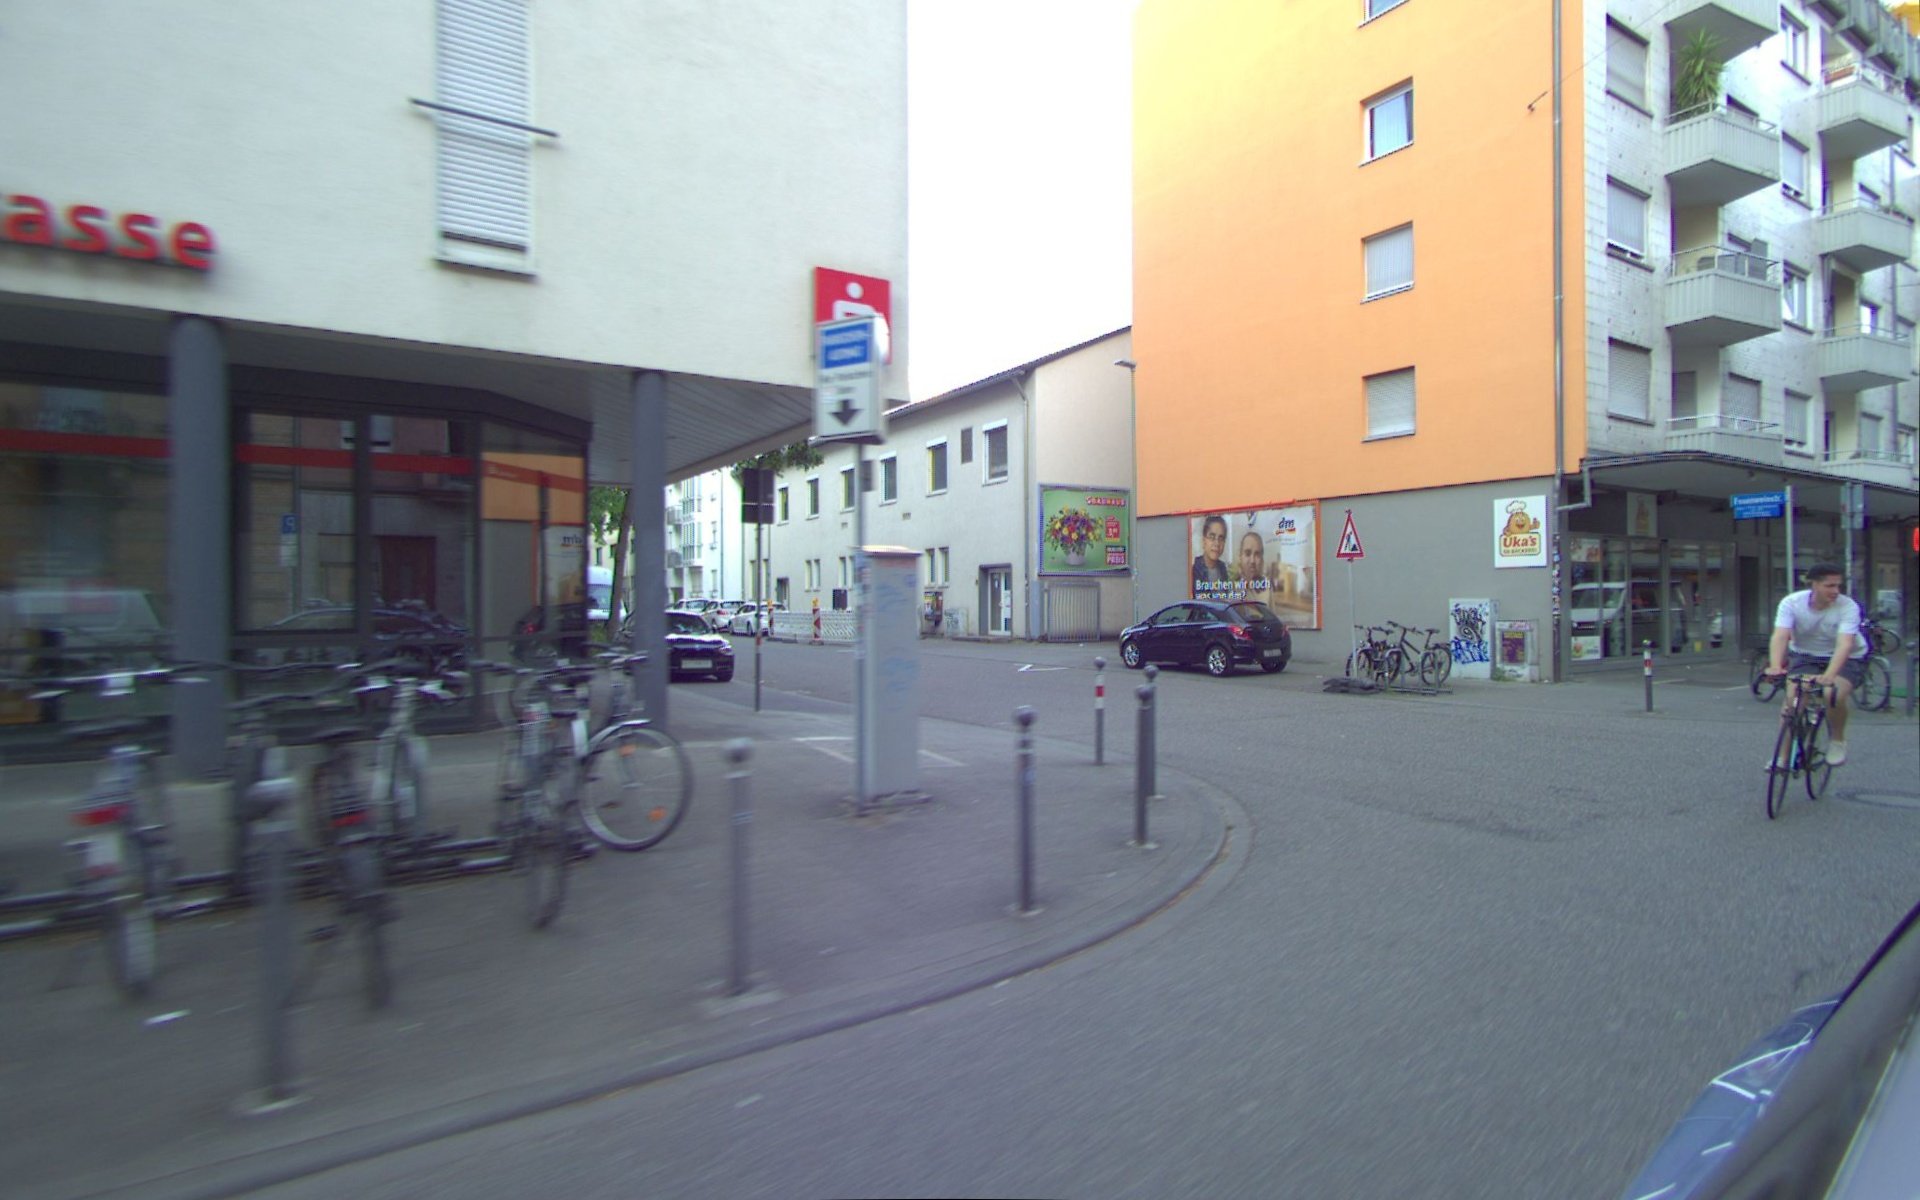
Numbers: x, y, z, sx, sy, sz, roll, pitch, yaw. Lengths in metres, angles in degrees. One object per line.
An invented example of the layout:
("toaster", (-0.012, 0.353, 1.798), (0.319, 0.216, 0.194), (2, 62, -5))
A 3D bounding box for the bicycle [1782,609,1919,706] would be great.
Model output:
("bicycle", (12.384, 0.744, 13.931), (0.645, 1.148, 1.943), (0, 2, 4))

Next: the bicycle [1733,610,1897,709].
("bicycle", (11.460, 0.755, 13.667), (0.645, 1.148, 1.943), (0, 2, 4))

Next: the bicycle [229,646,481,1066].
("bicycle", (-2.417, 0.827, 4.003), (0.693, 1.131, 1.729), (-1, 2, -34))

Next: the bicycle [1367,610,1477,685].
("bicycle", (7.553, 0.751, 16.513), (1.924, 1.080, 0.565), (-2, 1, -28))

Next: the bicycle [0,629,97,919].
("bicycle", (-4.672, 0.764, 4.715), (0.640, 1.131, 1.730), (-1, 2, -29))

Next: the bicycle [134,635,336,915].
("bicycle", (-3.664, 0.782, 5.243), (0.640, 1.067, 1.730), (-1, 2, -29))

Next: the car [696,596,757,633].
("car", (-11.088, 0.664, 47.906), (1.838, 1.615, 3.757), (-2, 0, -28))

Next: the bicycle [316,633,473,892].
("bicycle", (-3.092, 0.779, 5.570), (0.640, 1.067, 1.730), (-1, 2, -29))

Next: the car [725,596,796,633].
("car", (-8.521, 0.593, 42.928), (1.774, 1.437, 4.137), (-2, 0, -28))

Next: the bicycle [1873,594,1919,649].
("bicycle", (22.527, 0.486, 24.247), (0.910, 1.210, 1.684), (2, 3, 44))

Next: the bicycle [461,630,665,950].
("bicycle", (-1.975, 0.773, 4.890), (0.693, 1.131, 1.730), (-1, 2, -29))

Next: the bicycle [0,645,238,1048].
("bicycle", (-3.390, 0.829, 4.095), (0.693, 1.131, 1.816), (-1, 2, -34))

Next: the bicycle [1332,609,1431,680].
("bicycle", (7.101, 0.720, 17.022), (1.721, 1.080, 0.565), (-2, 1, -28))

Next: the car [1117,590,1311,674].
("car", (5.001, 0.580, 20.386), (1.672, 1.494, 3.683), (-2, 1, -31))

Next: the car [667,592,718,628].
("car", (-13.884, 0.528, 52.401), (1.808, 1.759, 3.751), (-2, 0, -27))

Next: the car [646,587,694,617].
("car", (-16.306, 0.131, 56.753), (1.792, 1.571, 3.798), (-2, 0, -29))

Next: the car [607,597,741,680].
("car", (-5.870, 0.714, 20.451), (1.755, 1.451, 4.253), (3, -1, -27))

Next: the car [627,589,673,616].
("car", (-18.887, 0.170, 61.586), (1.879, 1.571, 3.798), (-2, 0, -29))

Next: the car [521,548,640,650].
("car", (-11.815, 0.039, 31.117), (2.034, 2.769, 6.786), (2, -2, -32))

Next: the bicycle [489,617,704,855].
("bicycle", (-2.229, 0.724, 6.086), (0.569, 1.145, 1.724), (-1, 3, -44))

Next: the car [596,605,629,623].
("car", (-24.488, 0.972, 71.258), (1.516, 1.214, 3.518), (-2, 0, -30))

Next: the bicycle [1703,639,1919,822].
("bicycle", (6.047, 0.844, 7.077), (1.880, 1.031, 0.659), (-2, 0, -30))

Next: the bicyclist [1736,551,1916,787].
("bicyclist", (6.056, 0.438, 7.084), (0.934, 1.528, 0.651), (-1, 0, -30))
